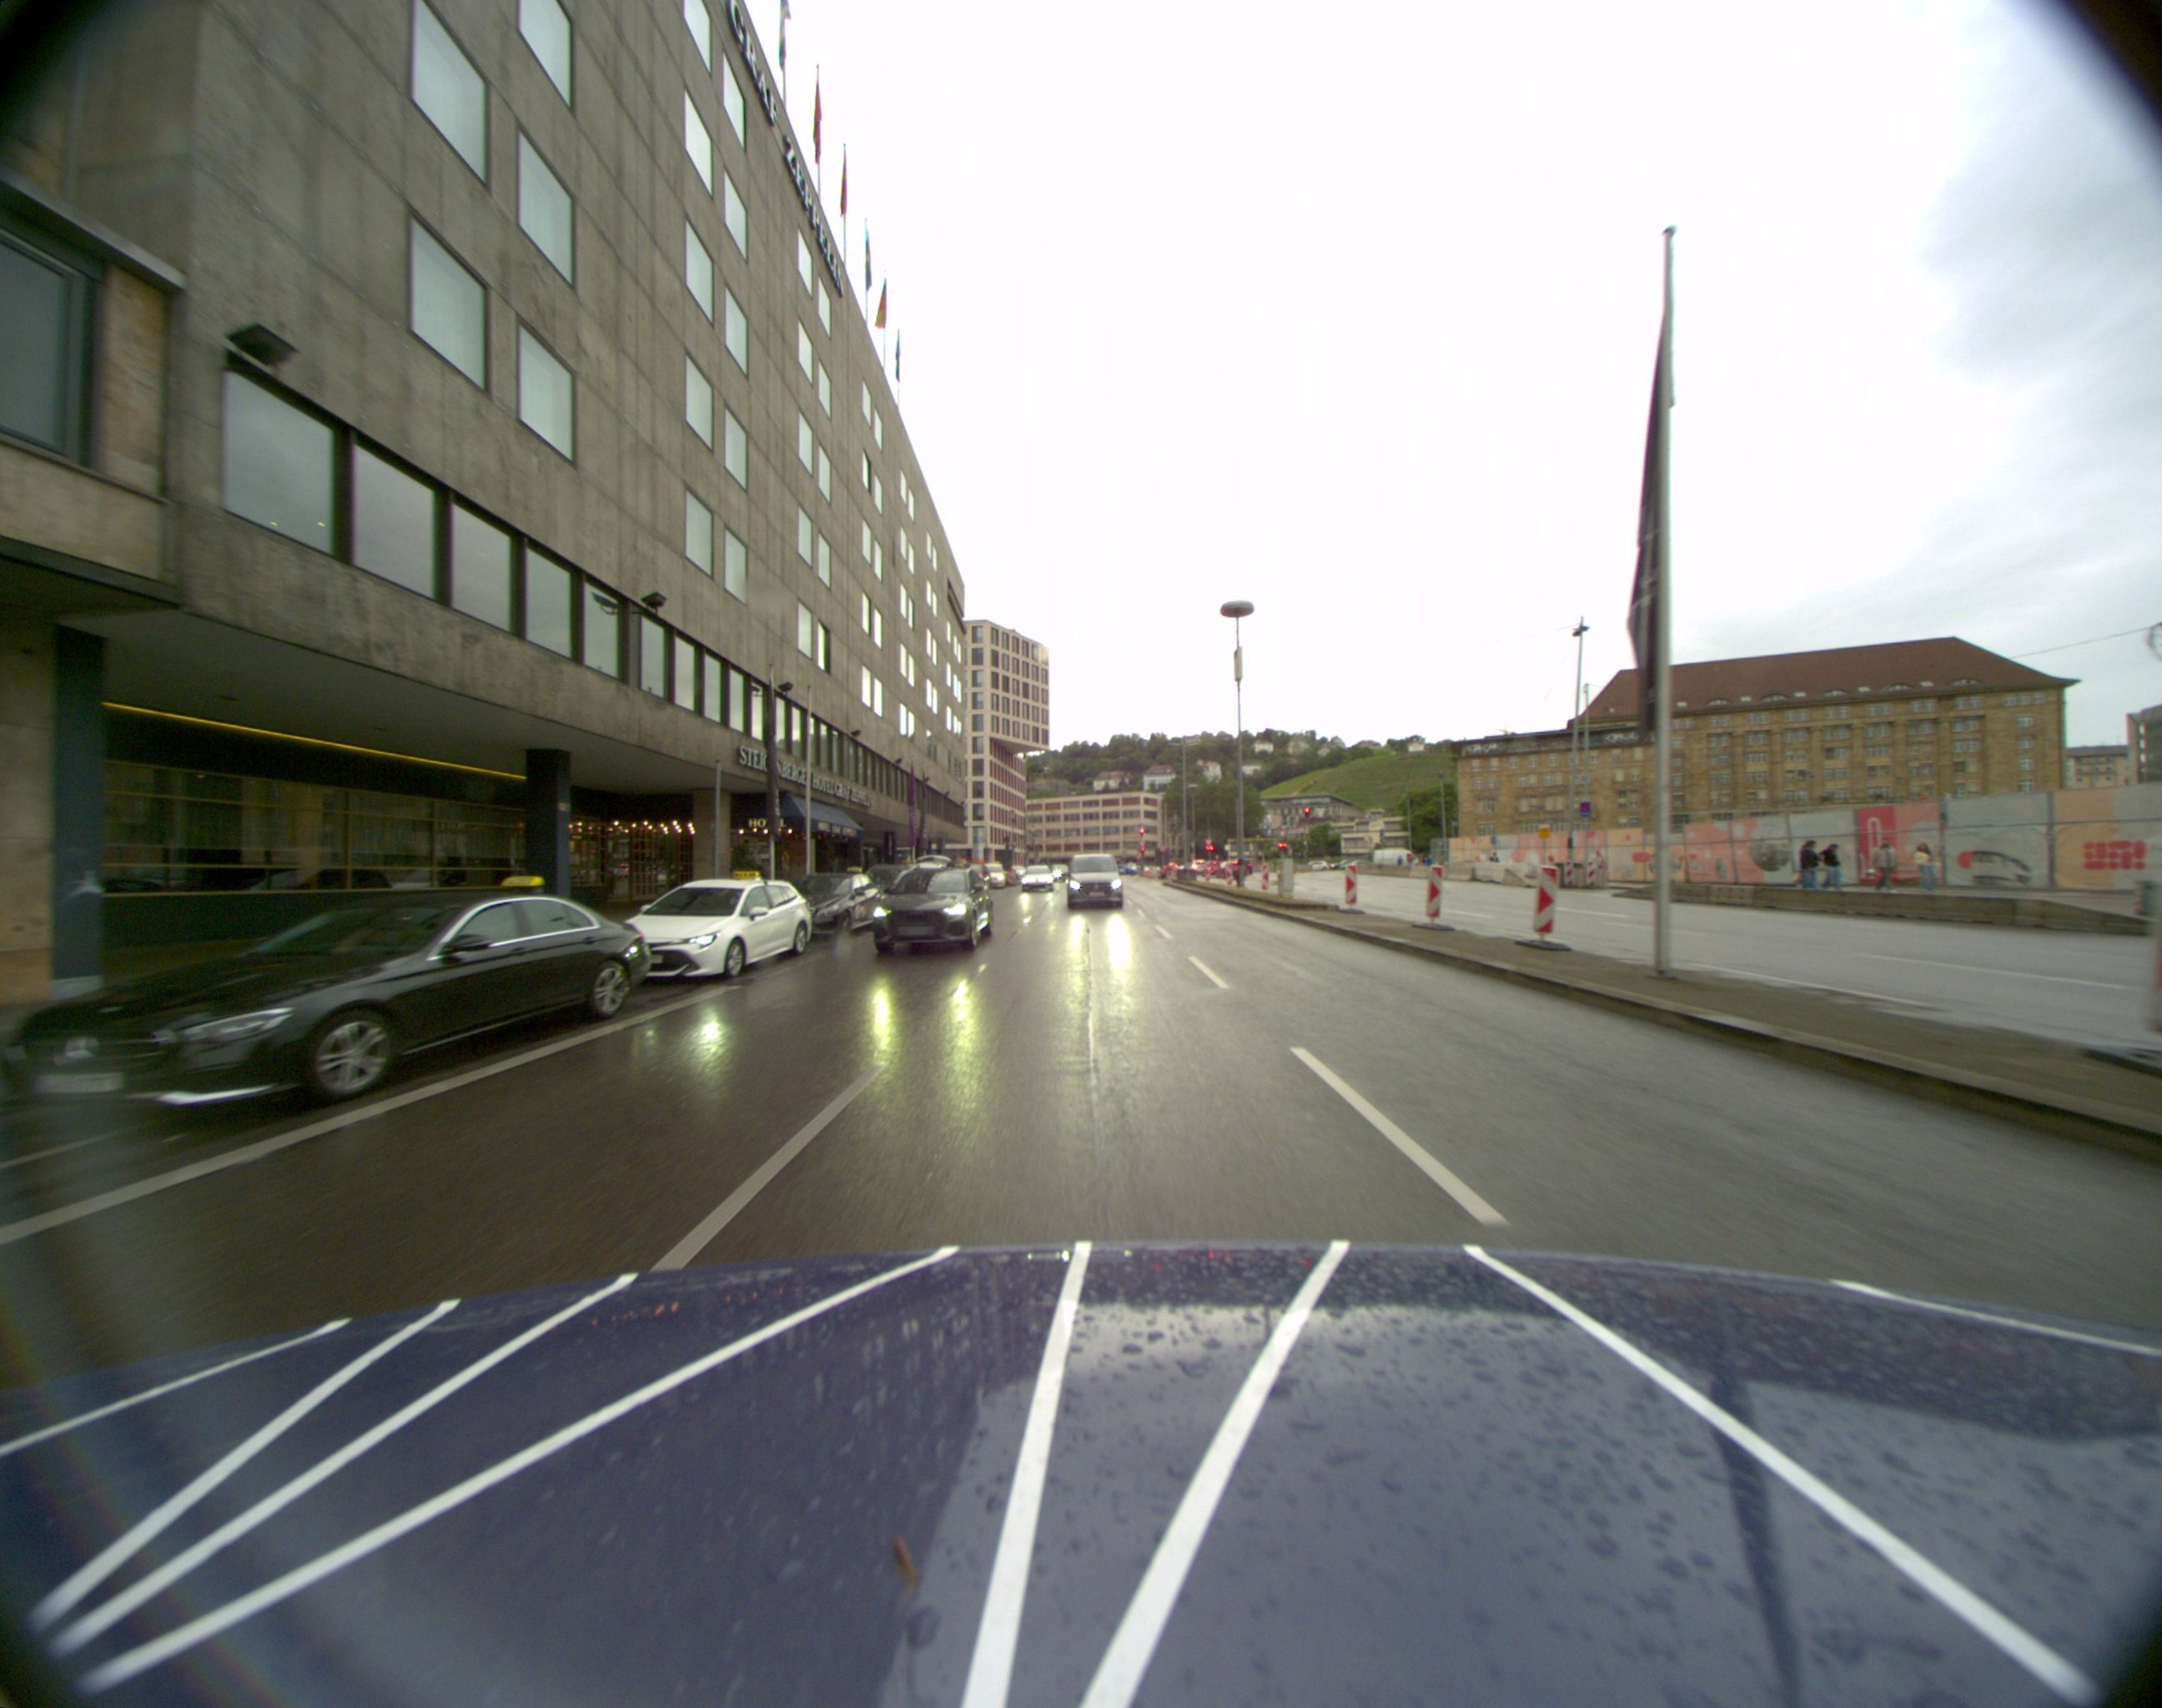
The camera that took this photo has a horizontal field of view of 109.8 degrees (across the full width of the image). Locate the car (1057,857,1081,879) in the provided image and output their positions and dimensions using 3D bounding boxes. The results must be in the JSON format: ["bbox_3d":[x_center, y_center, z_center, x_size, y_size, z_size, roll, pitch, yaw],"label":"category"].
[{"bbox_3d":[-1.032,1.197,68.009,1.967,1.852,4.000,-1,0,1],"label":"car"}]

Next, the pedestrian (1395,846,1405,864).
[{"bbox_3d":[29.570,0.081,70.450,0.715,1.606,0.544,-2,1,1],"label":"pedestrian"}]

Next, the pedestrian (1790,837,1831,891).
[{"bbox_3d":[24.054,0.321,25.071,0.714,1.723,0.718,-2,1,19],"label":"pedestrian"}]

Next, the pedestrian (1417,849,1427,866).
[{"bbox_3d":[34.085,0.365,75.859,0.715,1.606,0.544,-2,1,1],"label":"pedestrian"}]

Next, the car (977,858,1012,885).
[{"bbox_3d":[-5.751,1.148,50.913,1.731,1.604,4.001,-2,0,1],"label":"car"}]

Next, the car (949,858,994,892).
[{"bbox_3d":[-5.766,1.065,40.592,1.731,1.604,4.001,-2,0,1],"label":"car"}]

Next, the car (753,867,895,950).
[{"bbox_3d":[-6.038,1.200,18.537,1.731,1.583,4.814,-2,0,1],"label":"car"}]

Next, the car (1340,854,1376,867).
[{"bbox_3d":[34.407,0.817,94.405,3.993,1.622,2.002,-1,0,14],"label":"car"}]

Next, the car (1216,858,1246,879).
[{"bbox_3d":[12.576,1.210,63.904,1.785,1.684,3.916,-1,0,0],"label":"car"}]

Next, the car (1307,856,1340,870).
[{"bbox_3d":[34.723,1.299,109.034,4.194,1.846,1.832,-2,1,6],"label":"car"}]

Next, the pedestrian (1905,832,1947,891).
[{"bbox_3d":[26.423,0.226,23.763,0.661,1.825,0.556,-2,1,21],"label":"pedestrian"}]

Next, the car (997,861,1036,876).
[{"bbox_3d":[-6.668,1.537,78.341,1.874,1.461,3.989,-3,1,-43],"label":"car"}]

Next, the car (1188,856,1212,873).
[{"bbox_3d":[12.170,1.047,77.748,1.785,1.684,3.916,-2,0,-1],"label":"car"}]

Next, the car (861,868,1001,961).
[{"bbox_3d":[-2.892,1.113,15.707,1.883,1.493,4.342,-2,0,1],"label":"car"}]

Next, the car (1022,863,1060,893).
[{"bbox_3d":[-2.282,1.361,44.263,1.898,1.477,4.000,-2,0,1],"label":"car"}]

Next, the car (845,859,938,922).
[{"bbox_3d":[-6.017,1.096,24.709,1.731,1.732,4.814,-2,0,1],"label":"car"}]

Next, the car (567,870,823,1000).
[{"bbox_3d":[-6.062,1.151,12.722,1.731,1.583,4.814,-2,0,1],"label":"car"}]

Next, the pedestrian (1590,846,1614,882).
[{"bbox_3d":[26.736,0.519,39.004,0.664,1.825,0.720,-2,1,1],"label":"pedestrian"}]

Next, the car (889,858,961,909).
[{"bbox_3d":[-6.032,1.073,29.906,1.731,1.732,4.814,-2,0,1],"label":"car"}]

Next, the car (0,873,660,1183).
[{"bbox_3d":[-6.122,1.093,6.844,1.879,1.628,4.814,-2,0,1],"label":"car"}]

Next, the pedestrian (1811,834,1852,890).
[{"bbox_3d":[25.136,0.275,25.454,0.714,1.825,0.718,-2,1,19],"label":"pedestrian"}]

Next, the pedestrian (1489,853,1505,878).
[{"bbox_3d":[27.693,0.759,50.607,0.715,1.606,0.544,-2,1,1],"label":"pedestrian"}]

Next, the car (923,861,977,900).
[{"bbox_3d":[-6.042,1.198,35.414,1.731,1.604,4.001,-2,0,1],"label":"car"}]

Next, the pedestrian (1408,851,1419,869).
[{"bbox_3d":[30.885,0.538,70.614,0.715,1.606,0.544,-2,1,1],"label":"pedestrian"}]

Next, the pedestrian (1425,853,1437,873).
[{"bbox_3d":[28.962,0.744,62.844,0.715,1.606,0.544,-2,1,1],"label":"pedestrian"}]

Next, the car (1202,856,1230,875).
[{"bbox_3d":[12.645,1.058,71.448,1.785,1.684,3.916,-2,0,-1],"label":"car"}]

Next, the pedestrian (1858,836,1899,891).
[{"bbox_3d":[25.640,0.294,24.442,0.714,1.734,0.564,-2,1,21],"label":"pedestrian"}]

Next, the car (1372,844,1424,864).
[{"bbox_3d":[37.587,-0.016,90.134,5.243,2.224,2.001,-2,1,6],"label":"car"}]

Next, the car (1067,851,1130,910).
[{"bbox_3d":[0.628,0.866,27.341,1.998,1.849,5.160,-2,0,1],"label":"car"}]
